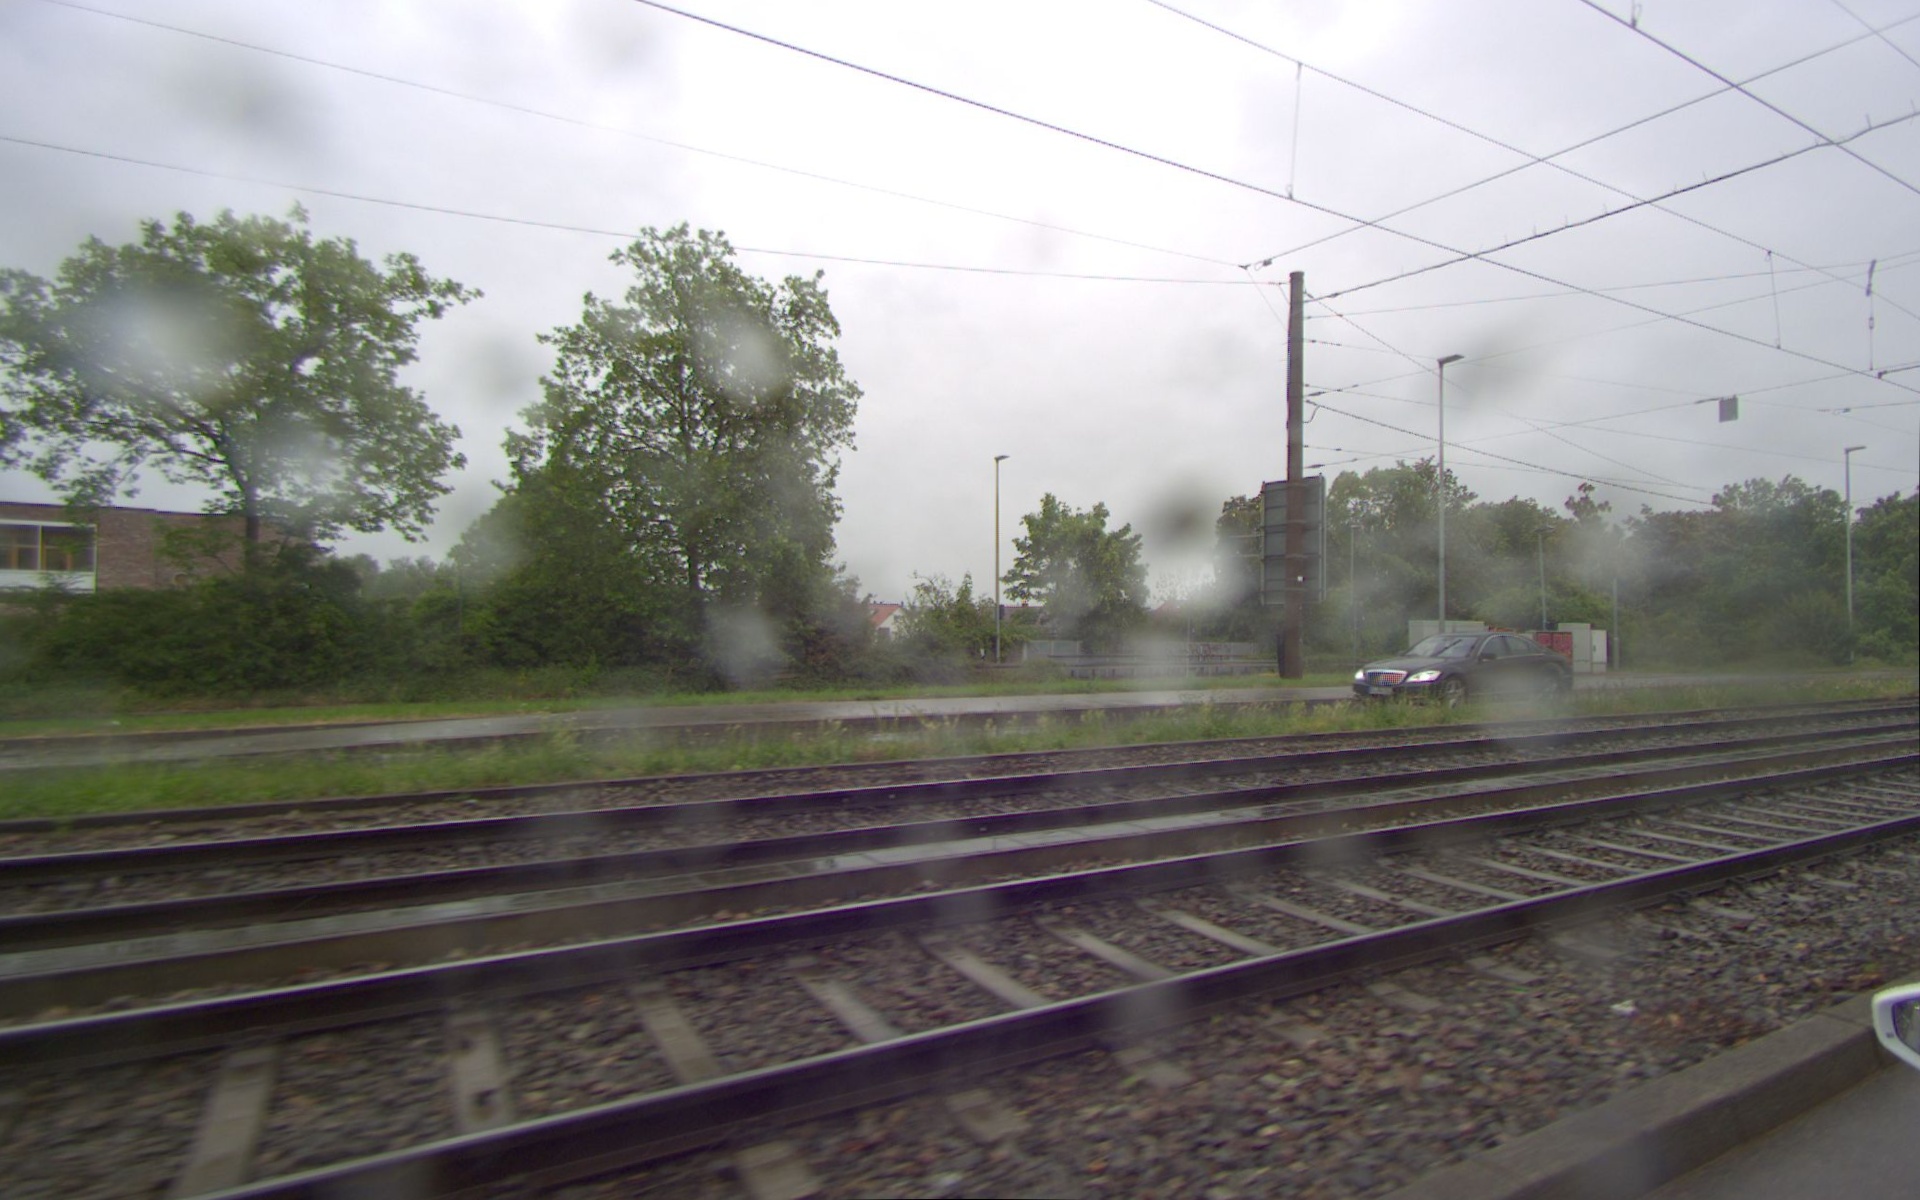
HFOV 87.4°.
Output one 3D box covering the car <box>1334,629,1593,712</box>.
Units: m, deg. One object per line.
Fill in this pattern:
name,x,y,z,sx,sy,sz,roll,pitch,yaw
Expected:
car,9.908,1.293,19.629,5.323,1.423,1.984,1,-2,-31
